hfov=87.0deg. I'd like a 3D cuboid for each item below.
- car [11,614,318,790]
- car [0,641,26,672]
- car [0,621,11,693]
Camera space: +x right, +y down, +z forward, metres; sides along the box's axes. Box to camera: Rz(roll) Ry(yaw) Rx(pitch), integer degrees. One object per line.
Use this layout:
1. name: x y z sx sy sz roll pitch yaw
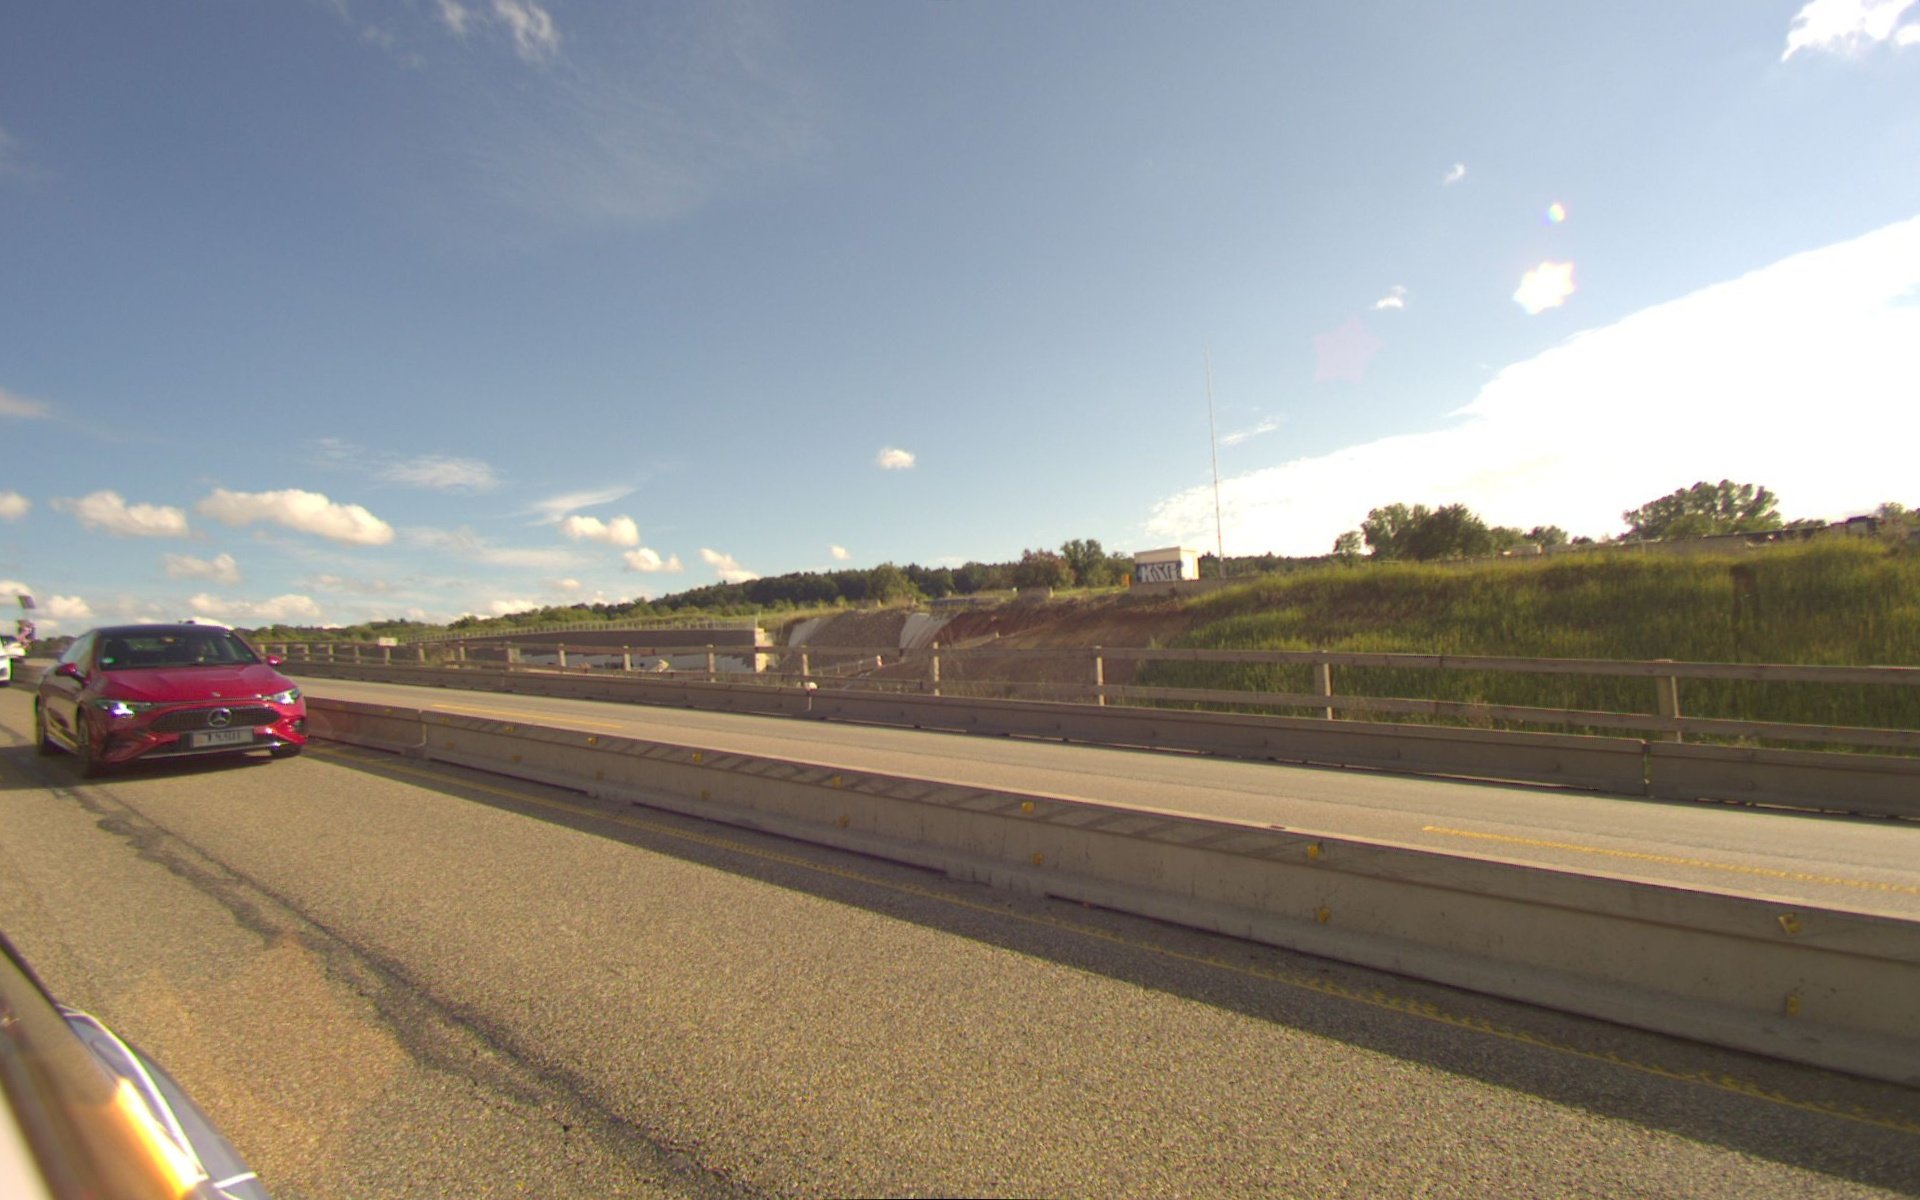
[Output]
1. car: -8.890 0.971 11.149 4.682 1.503 1.804 -2 0 41
2. car: -47.399 2.751 49.695 3.997 1.503 1.804 -2 -3 40
3. car: -26.460 1.515 26.557 4.453 1.837 1.804 -2 0 41
